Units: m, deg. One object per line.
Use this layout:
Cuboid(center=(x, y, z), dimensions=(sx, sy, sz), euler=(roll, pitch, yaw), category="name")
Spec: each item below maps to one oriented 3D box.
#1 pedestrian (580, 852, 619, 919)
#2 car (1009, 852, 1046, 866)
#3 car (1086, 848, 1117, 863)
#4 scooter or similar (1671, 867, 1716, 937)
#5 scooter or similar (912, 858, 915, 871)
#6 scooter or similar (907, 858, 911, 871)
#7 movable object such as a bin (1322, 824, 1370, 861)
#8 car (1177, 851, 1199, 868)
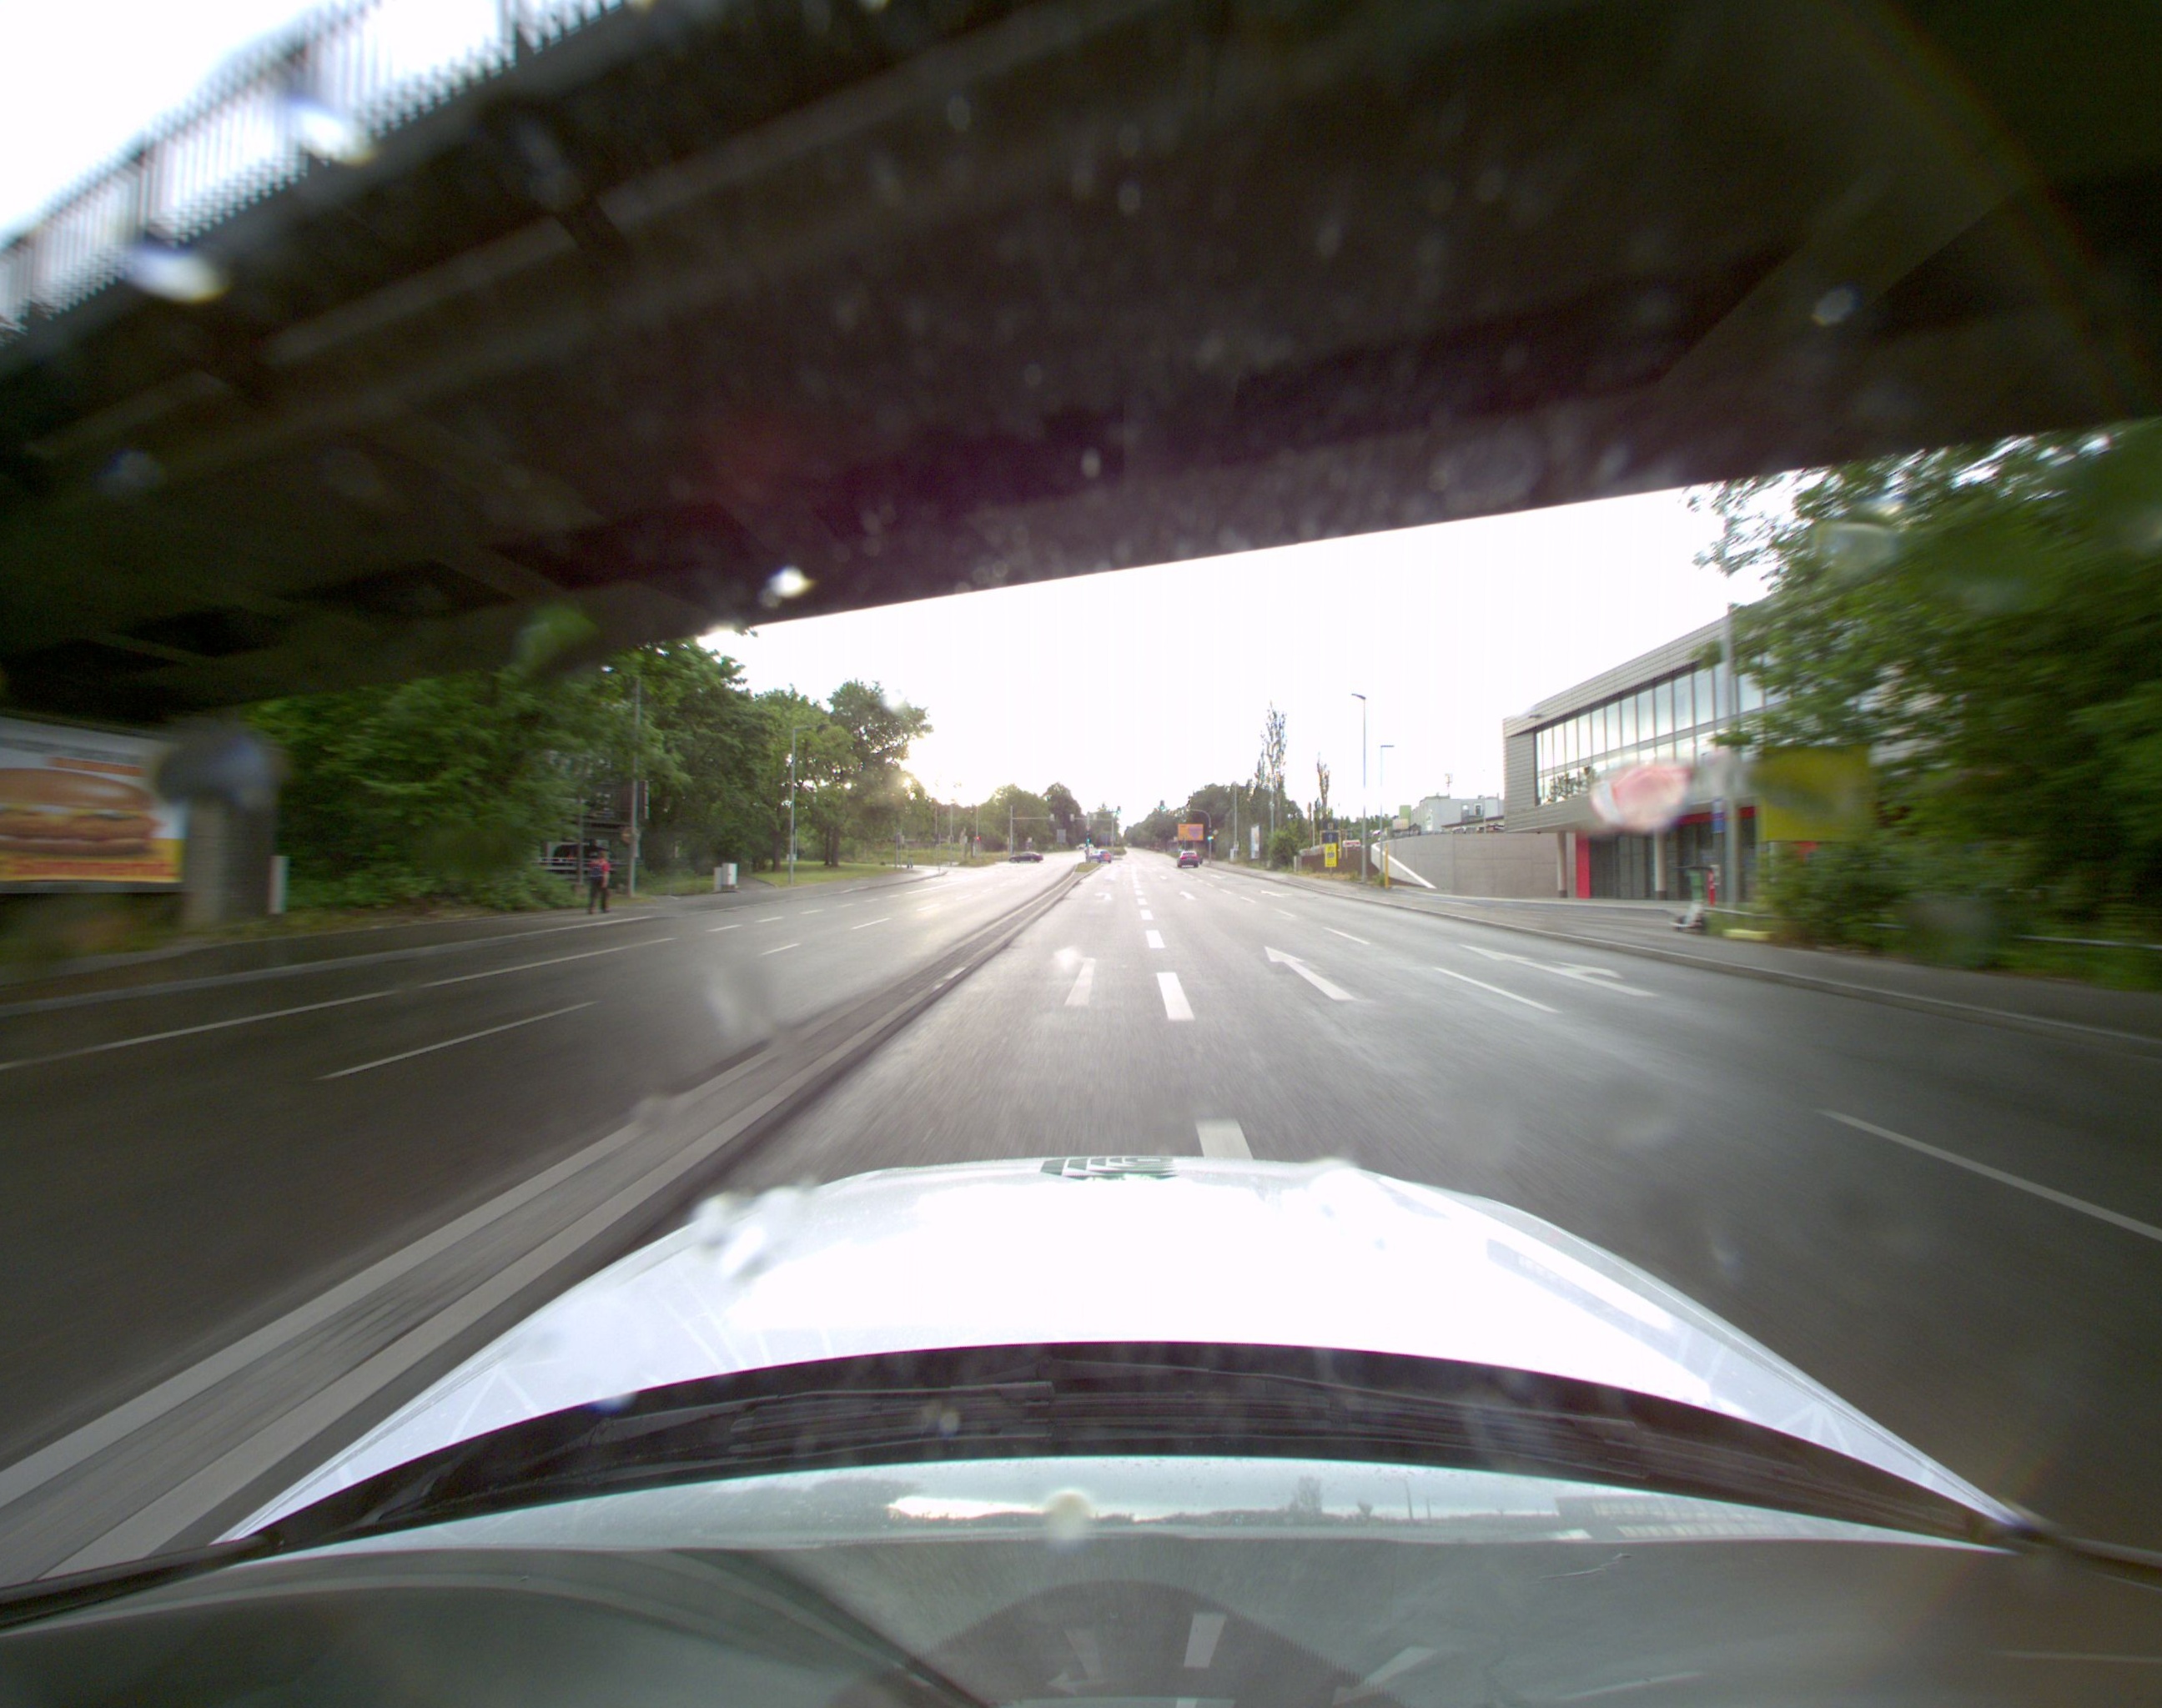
Cuboid(center=(-13.449, 0.866, 22.755), dimensions=(0.516, 1.816, 0.802), euler=(0, -1, 13), category="pedestrian")
Cuboid(center=(-6.833, 0.692, 104.847), dimensions=(4.637, 1.583, 2.171), euler=(2, -1, -3), category="car")
Cuboid(center=(2.474, 0.175, 97.916), dimensions=(2.086, 1.718, 4.163), euler=(2, -2, -25), category="car")
Cuboid(center=(10.564, 0.803, 14.063), dimensions=(0.253, 1.129, 1.286), euler=(0, 0, 20), category="scooter or similar")
Cuboid(center=(-15.946, 0.953, 77.589), dimensions=(0.311, 1.218, 1.303), euler=(0, 0, -10), category="scooter or similar")
Cuboid(center=(-16.021, 0.972, 75.925), dimensions=(0.311, 1.218, 1.303), euler=(0, 0, -11), category="scooter or similar")
Cuboid(center=(24.139, -1.007, 74.508), dimensions=(2.298, 3.276, 5.416), euler=(0, 0, -4), category="movable object such as a bin")
Cuboid(center=(9.869, 0.511, 75.348), dimensions=(1.738, 1.470, 4.169), euler=(0, 0, 3), category="car")
